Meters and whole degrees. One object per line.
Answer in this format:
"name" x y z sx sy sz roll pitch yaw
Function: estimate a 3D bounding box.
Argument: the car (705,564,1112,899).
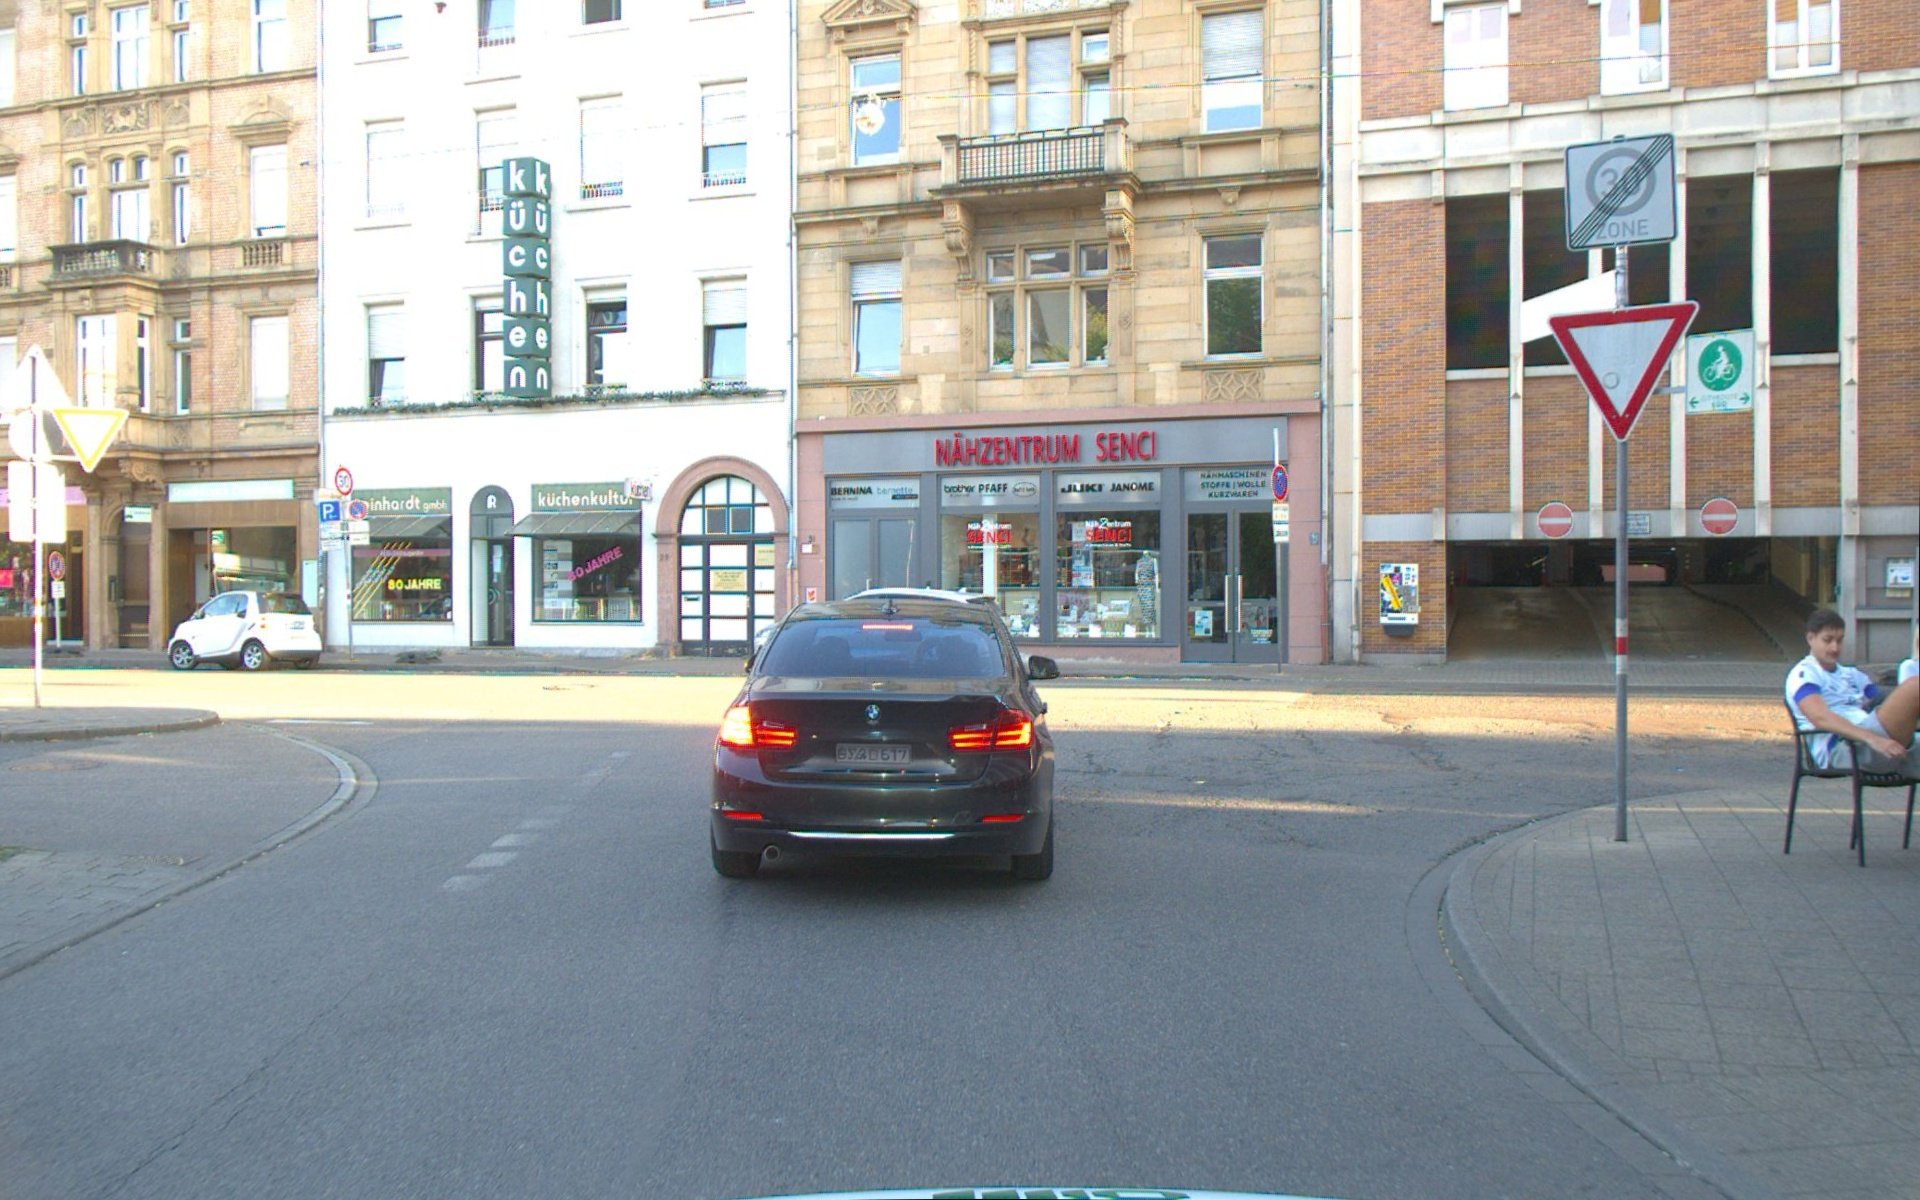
"car" -0.310 0.611 9.644 1.851 1.518 4.202 0 0 -2

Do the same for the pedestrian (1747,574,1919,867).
"pedestrian" 4.671 0.579 8.496 0.760 1.406 0.831 -1 -1 -30

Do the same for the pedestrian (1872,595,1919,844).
"pedestrian" 5.445 0.618 8.640 0.676 1.304 0.958 0 -2 -29

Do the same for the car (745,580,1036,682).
"car" -1.178 0.492 28.444 4.569 1.562 2.001 1 0 18

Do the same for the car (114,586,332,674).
"car" -14.765 0.555 33.144 3.904 1.612 1.706 1 1 20

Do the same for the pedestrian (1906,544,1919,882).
"pedestrian" 4.735 0.522 7.387 0.697 1.563 0.690 -1 0 13

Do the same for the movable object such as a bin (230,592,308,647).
"movable object such as a bin" -15.321 0.420 36.664 1.364 1.207 0.869 0 0 19
